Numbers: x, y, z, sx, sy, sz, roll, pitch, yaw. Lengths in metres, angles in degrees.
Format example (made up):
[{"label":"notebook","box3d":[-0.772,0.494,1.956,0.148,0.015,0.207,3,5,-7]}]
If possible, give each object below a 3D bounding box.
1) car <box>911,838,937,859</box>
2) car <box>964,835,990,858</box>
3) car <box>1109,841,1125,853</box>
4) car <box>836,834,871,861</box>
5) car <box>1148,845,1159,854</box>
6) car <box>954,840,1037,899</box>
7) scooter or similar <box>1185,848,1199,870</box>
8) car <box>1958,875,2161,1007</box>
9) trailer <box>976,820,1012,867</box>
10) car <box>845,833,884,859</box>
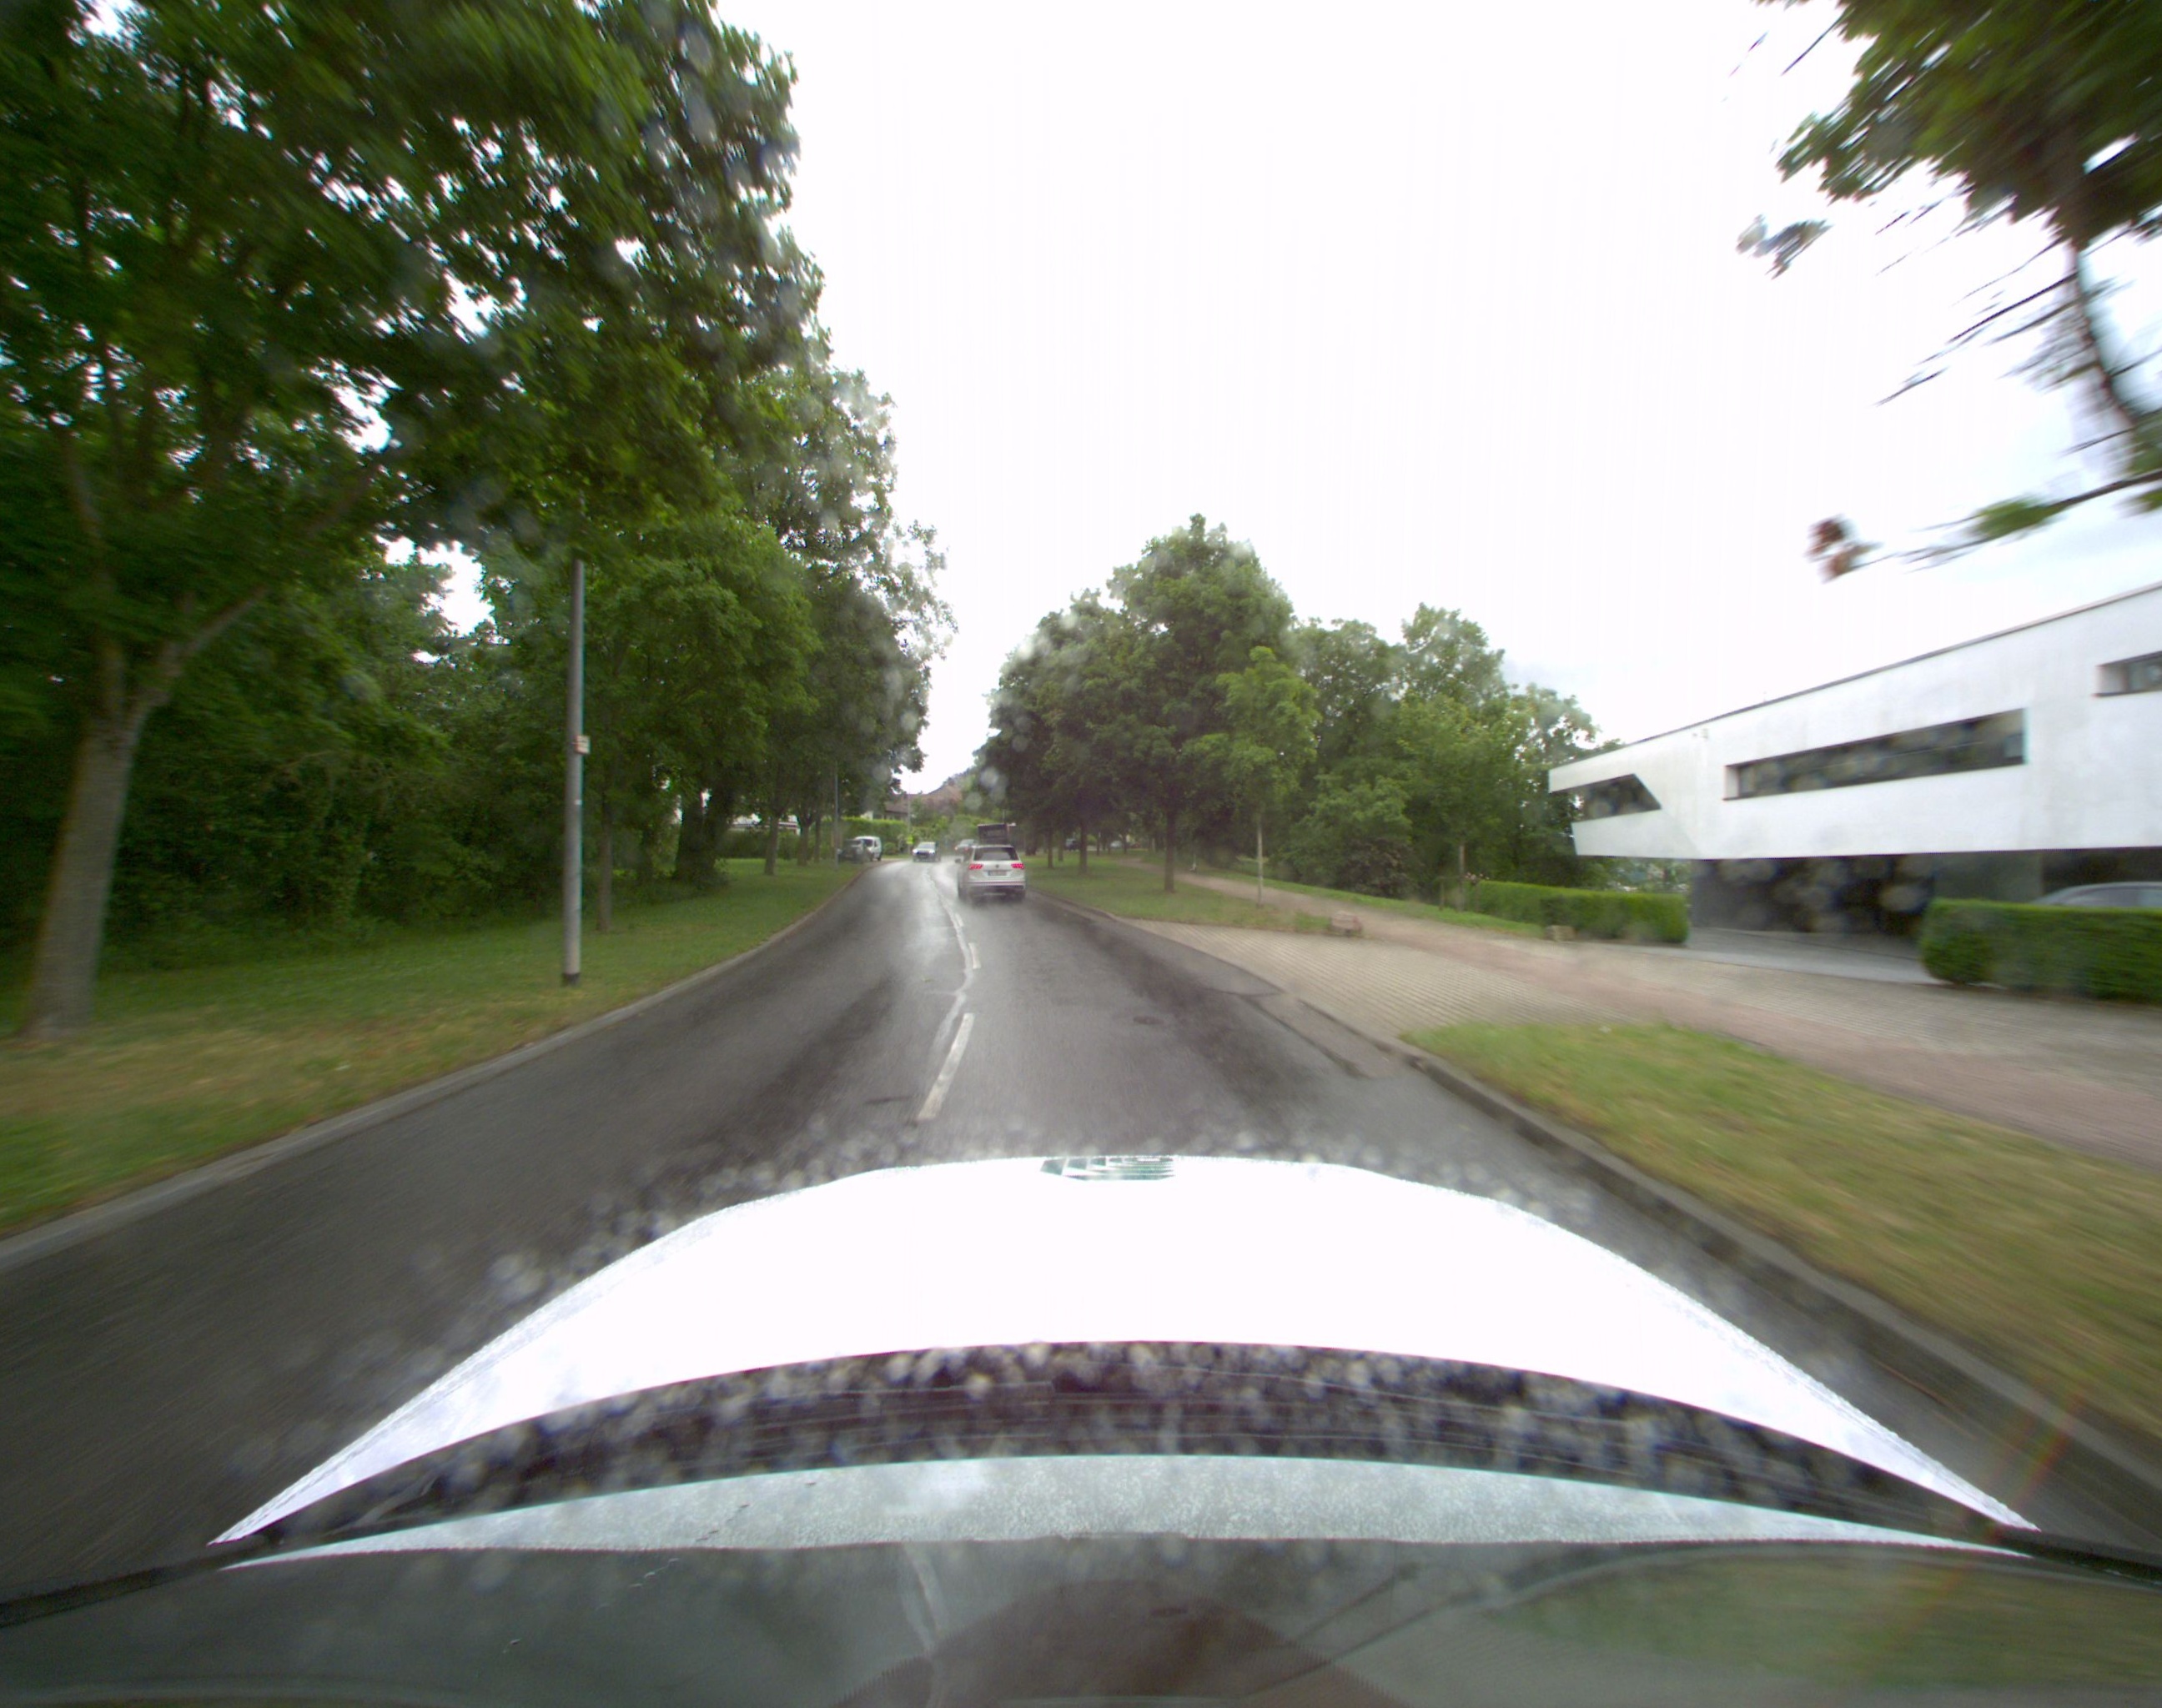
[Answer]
[{"label":"car","box3d":[-12.798,-0.508,66.499,1.788,1.537,4.082,3,1,-8]},{"label":"car","box3d":[-9.358,-0.657,73.553,1.896,2.013,3.941,3,0,-2]},{"label":"car","box3d":[6.018,-1.168,135.995,1.980,1.804,4.014,2,0,13]},{"label":"car","box3d":[-15.271,-0.443,54.772,1.750,1.640,4.577,3,0,-10]},{"label":"car","box3d":[15.784,-1.072,177.913,1.982,1.807,4.010,2,0,9]},{"label":"car","box3d":[-2.747,0.402,25.169,1.977,1.652,4.157,-1,1,-14]},{"label":"scooter or similar","box3d":[6.035,0.280,44.414,0.462,1.146,1.299,-1,1,-4]},{"label":"car","box3d":[14.078,1.110,10.219,1.908,1.550,4.474,2,0,11]},{"label":"trailer","box3d":[-5.798,-0.696,53.790,1.993,2.808,5.592,-5,2,-8]},{"label":"car","box3d":[-15.895,-0.606,59.970,1.794,1.795,4.369,2,1,-2]}]
